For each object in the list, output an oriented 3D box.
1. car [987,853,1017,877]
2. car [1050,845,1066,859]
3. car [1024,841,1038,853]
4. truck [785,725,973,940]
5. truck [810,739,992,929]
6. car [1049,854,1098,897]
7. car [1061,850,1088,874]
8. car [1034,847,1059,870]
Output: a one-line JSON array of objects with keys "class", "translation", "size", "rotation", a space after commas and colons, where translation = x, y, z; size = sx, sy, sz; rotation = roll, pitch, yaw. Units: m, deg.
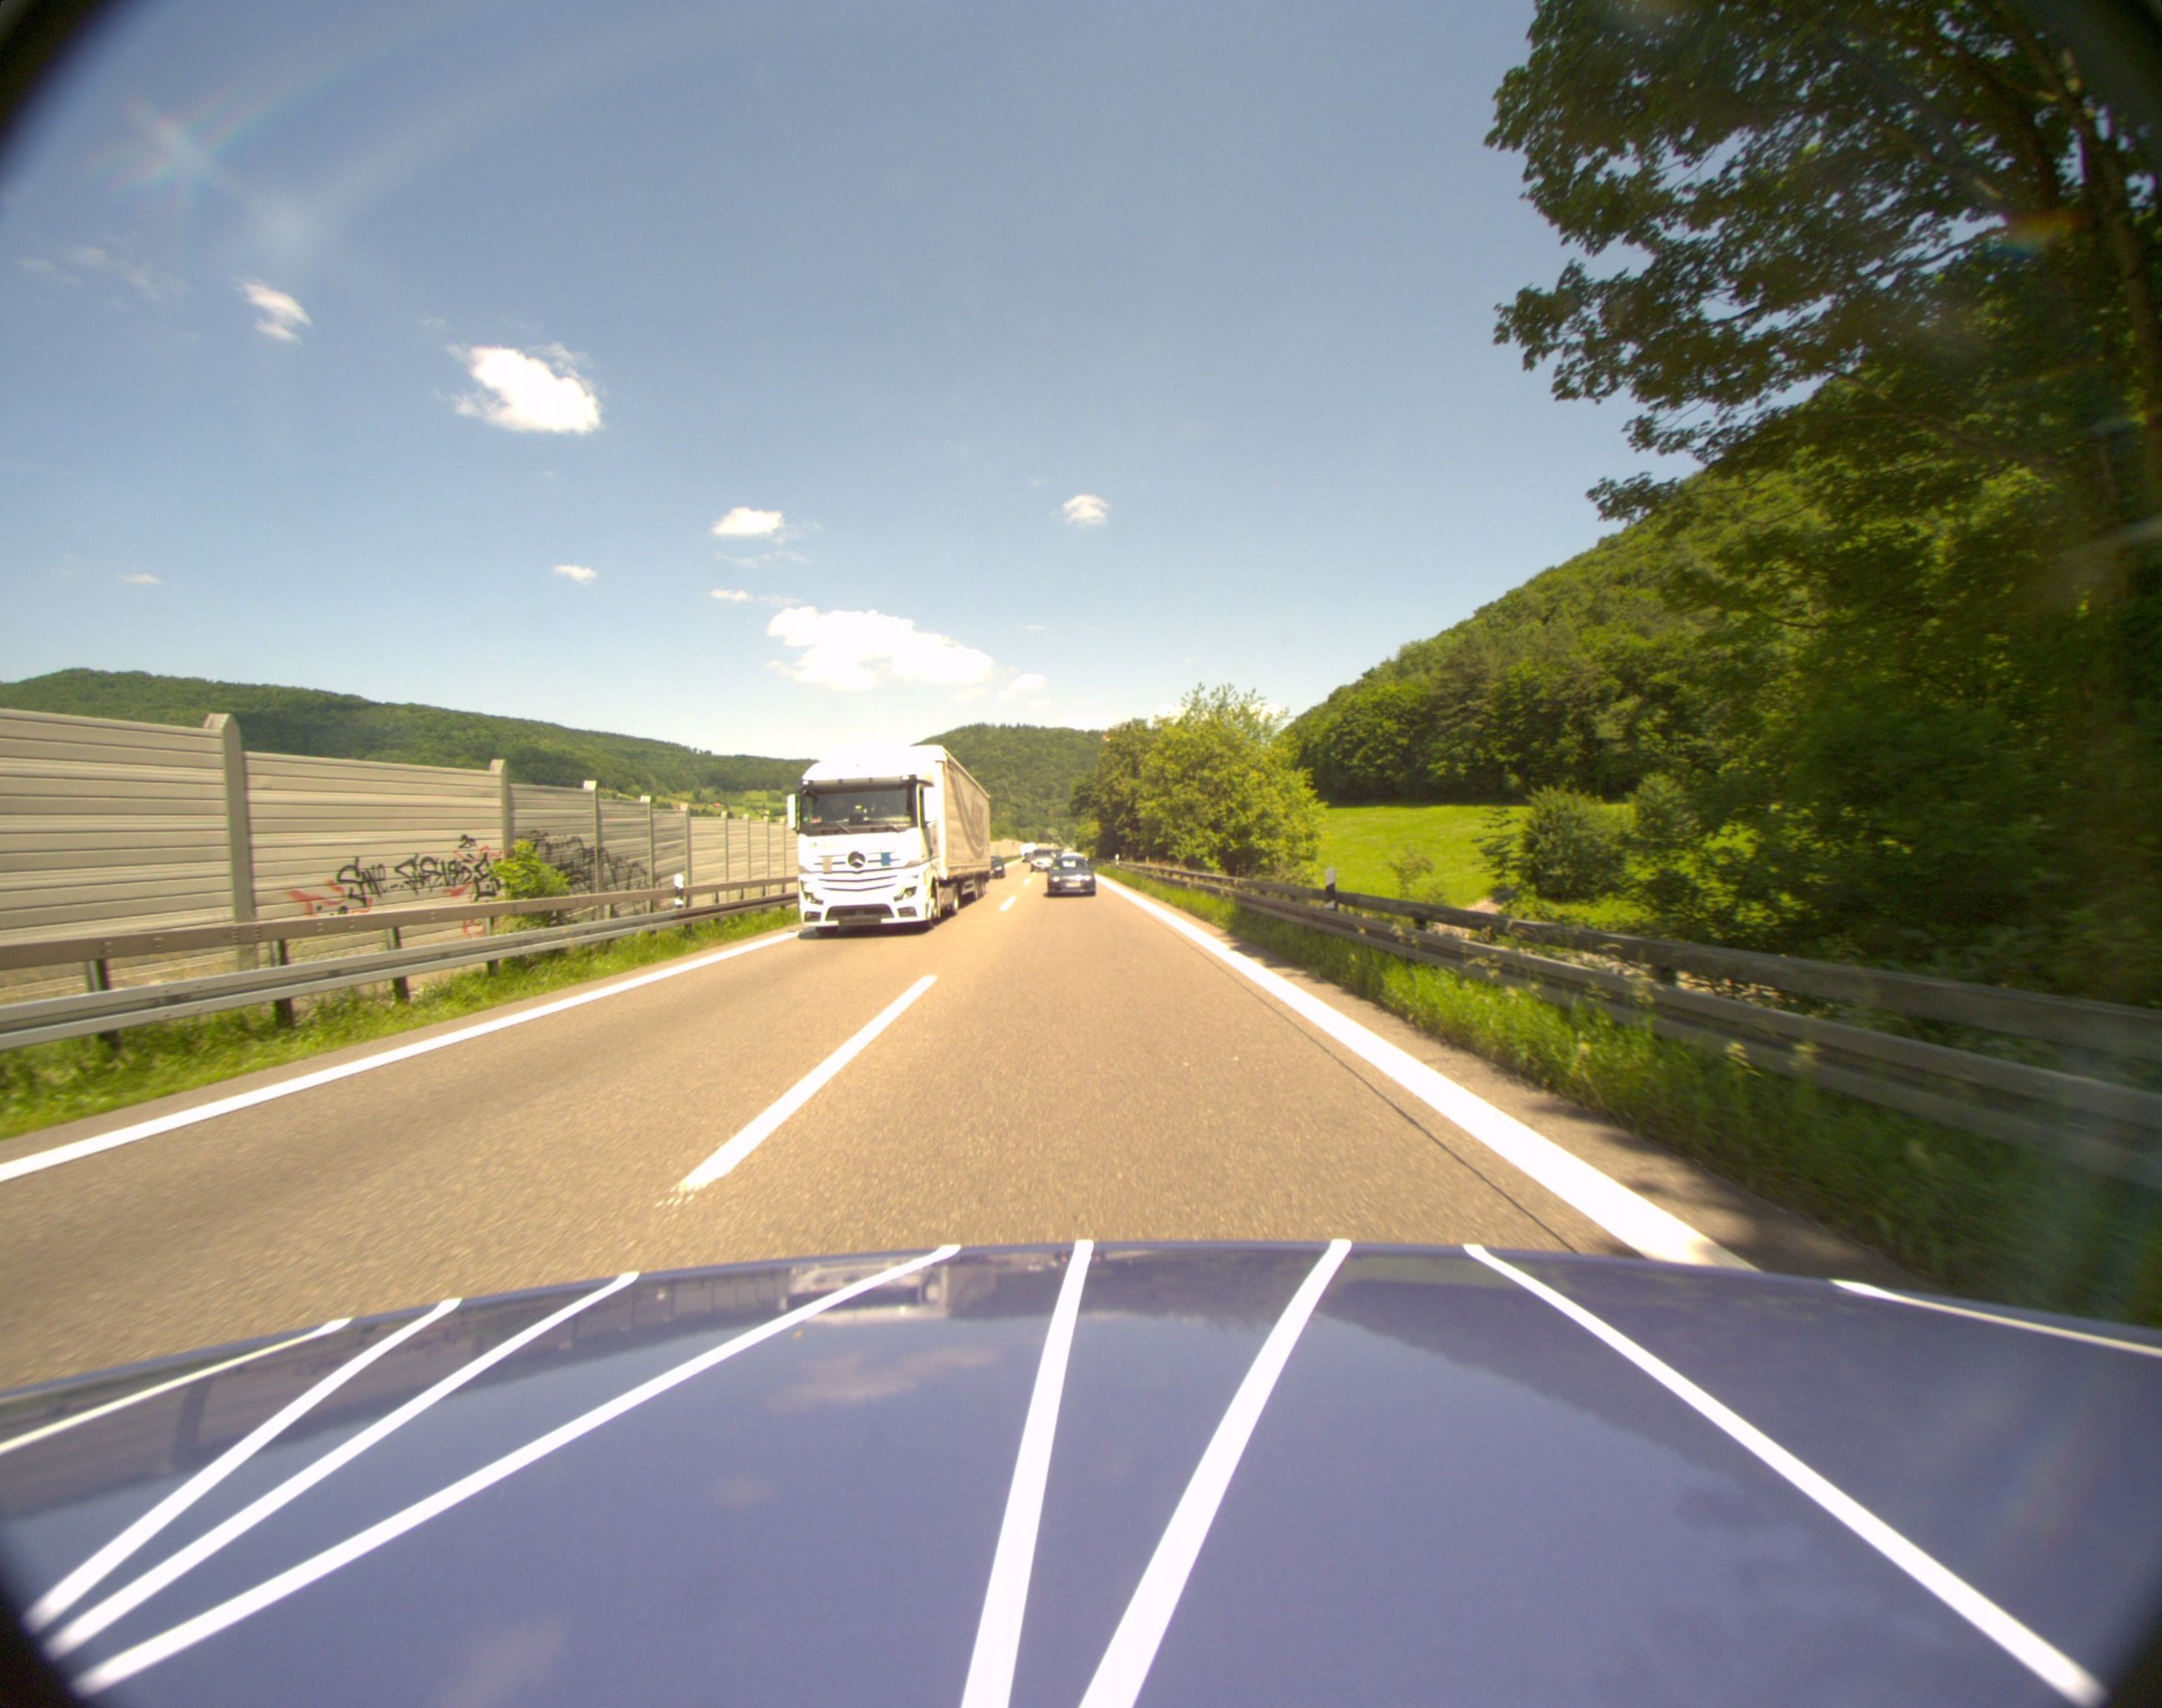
[{"class": "car", "translation": [-5.061, 0.689, 48.789], "size": [1.662, 1.405, 3.473], "rotation": [1, 1, -2]}, {"class": "car", "translation": [-2.826, -0.260, 93.406], "size": [1.800, 1.508, 3.720], "rotation": [5, 1, -1]}, {"class": "car", "translation": [-8.063, -1.107, 122.564], "size": [1.999, 1.892, 3.999], "rotation": [2, 0, -1]}, {"class": "truck", "translation": [-4.347, -0.425, 17.939], "size": [2.765, 4.015, 6.821], "rotation": [2, 1, -2]}, {"class": "truck", "translation": [-4.670, -0.476, 22.860], "size": [2.862, 4.124, 12.043], "rotation": [-2, 0, -2]}, {"class": "car", "translation": [-0.316, 0.732, 27.511], "size": [1.662, 1.436, 3.474], "rotation": [-1, 1, -2]}, {"class": "car", "translation": [-0.480, 0.527, 51.813], "size": [1.715, 1.541, 3.998], "rotation": [1, 1, -3]}, {"class": "car", "translation": [-2.891, 0.371, 62.757], "size": [2.044, 1.855, 3.999], "rotation": [0, 0, -4]}]
